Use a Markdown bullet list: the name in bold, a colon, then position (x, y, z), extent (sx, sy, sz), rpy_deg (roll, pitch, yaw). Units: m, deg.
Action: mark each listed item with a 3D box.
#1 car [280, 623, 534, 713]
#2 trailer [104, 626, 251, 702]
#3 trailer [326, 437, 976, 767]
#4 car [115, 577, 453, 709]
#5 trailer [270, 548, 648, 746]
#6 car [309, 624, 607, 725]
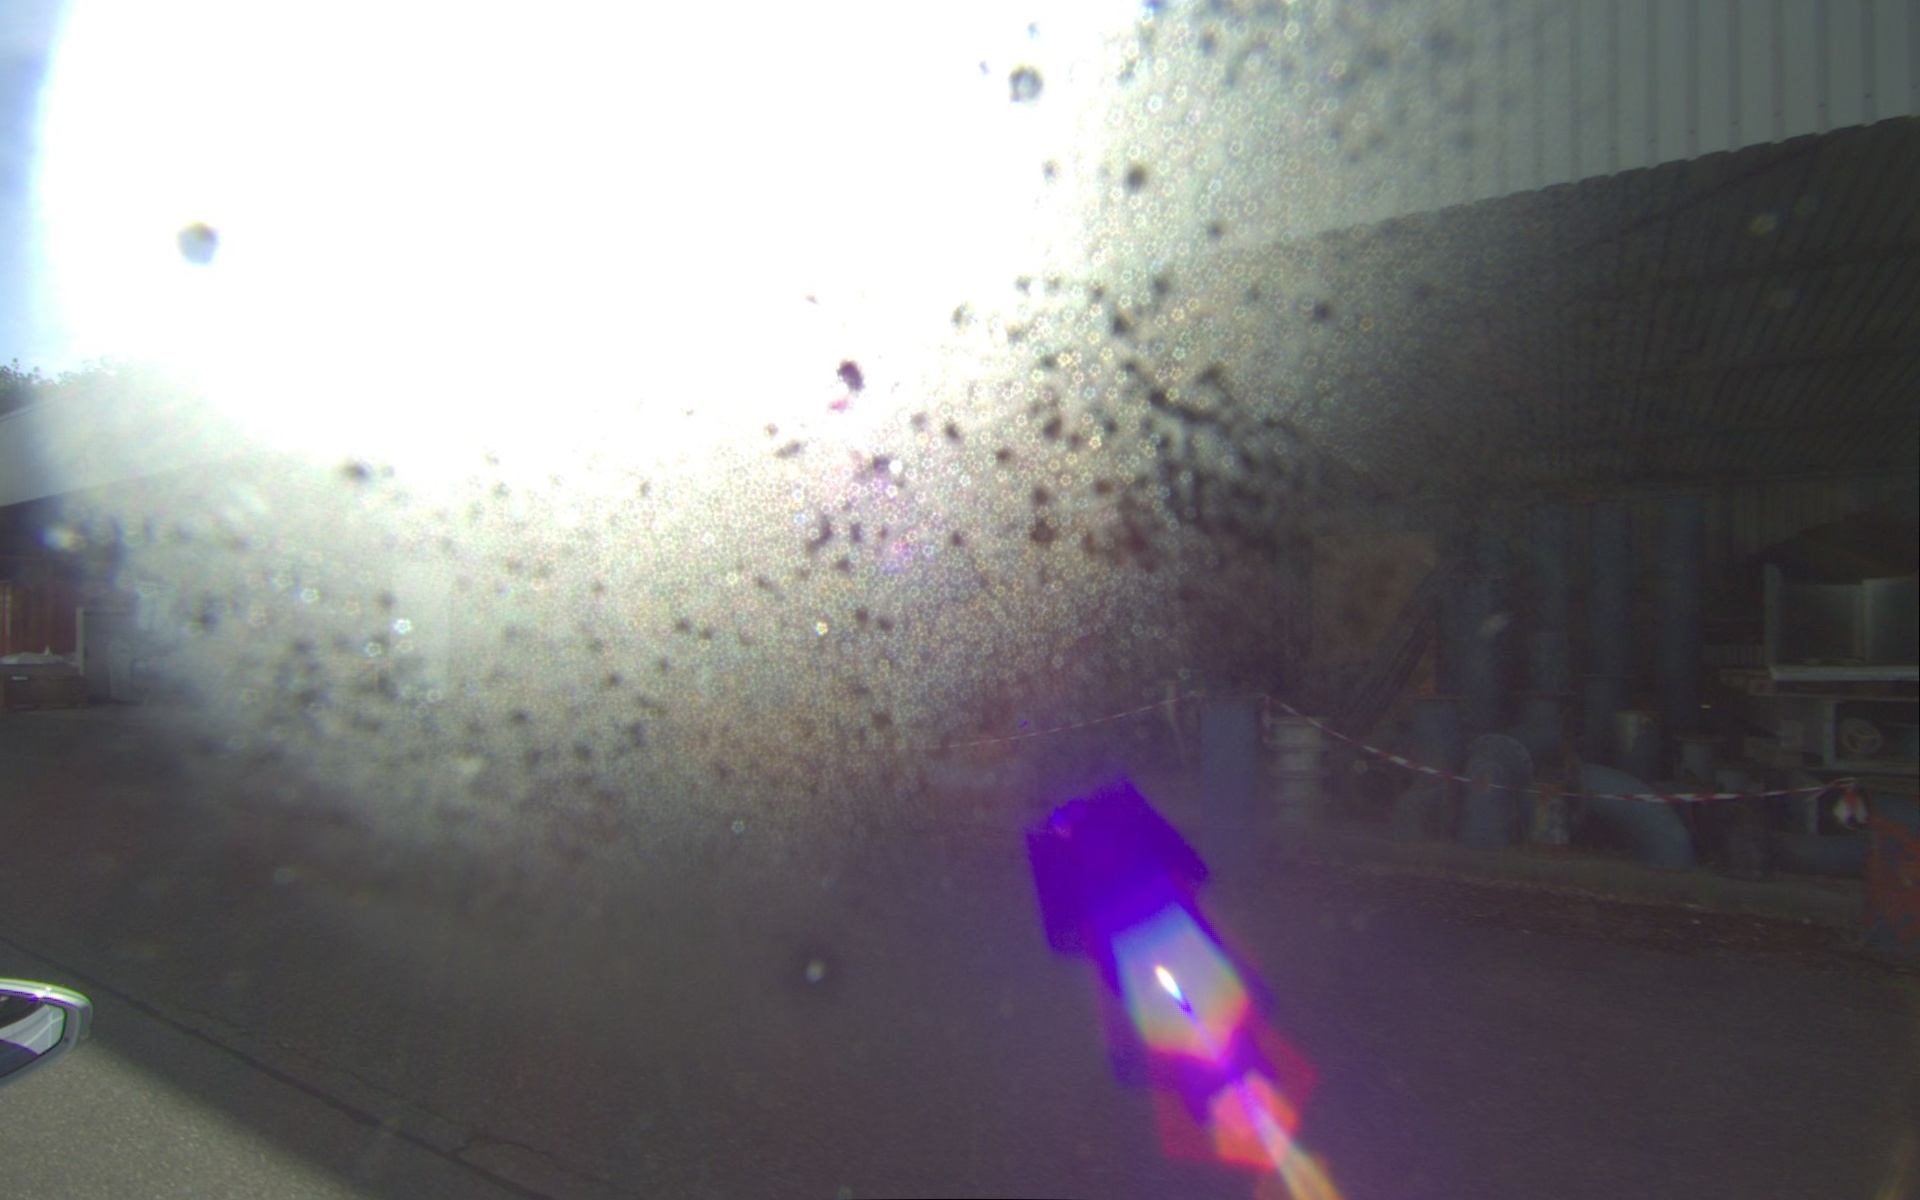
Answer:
- **car**: position (-10.516, 1.262, 19.351), extent (1.812, 1.533, 3.962), rpy_deg (-1, -3, 29)
- **trailer**: position (-16.266, 1.291, 20.857), extent (1.715, 1.485, 2.032), rpy_deg (-1, -2, 36)
- **trailer**: position (-3.563, 0.162, 15.356), extent (2.761, 3.386, 10.250), rpy_deg (-1, -2, 32)
- **car**: position (-13.498, 0.888, 20.443), extent (2.121, 2.309, 5.326), rpy_deg (-1, -3, 31)
- **trailer**: position (-6.993, 0.639, 14.478), extent (2.019, 2.372, 4.507), rpy_deg (-1, -2, 33)
- **car**: position (-8.350, 1.196, 17.072), extent (1.841, 1.490, 4.246), rpy_deg (0, -2, 29)
